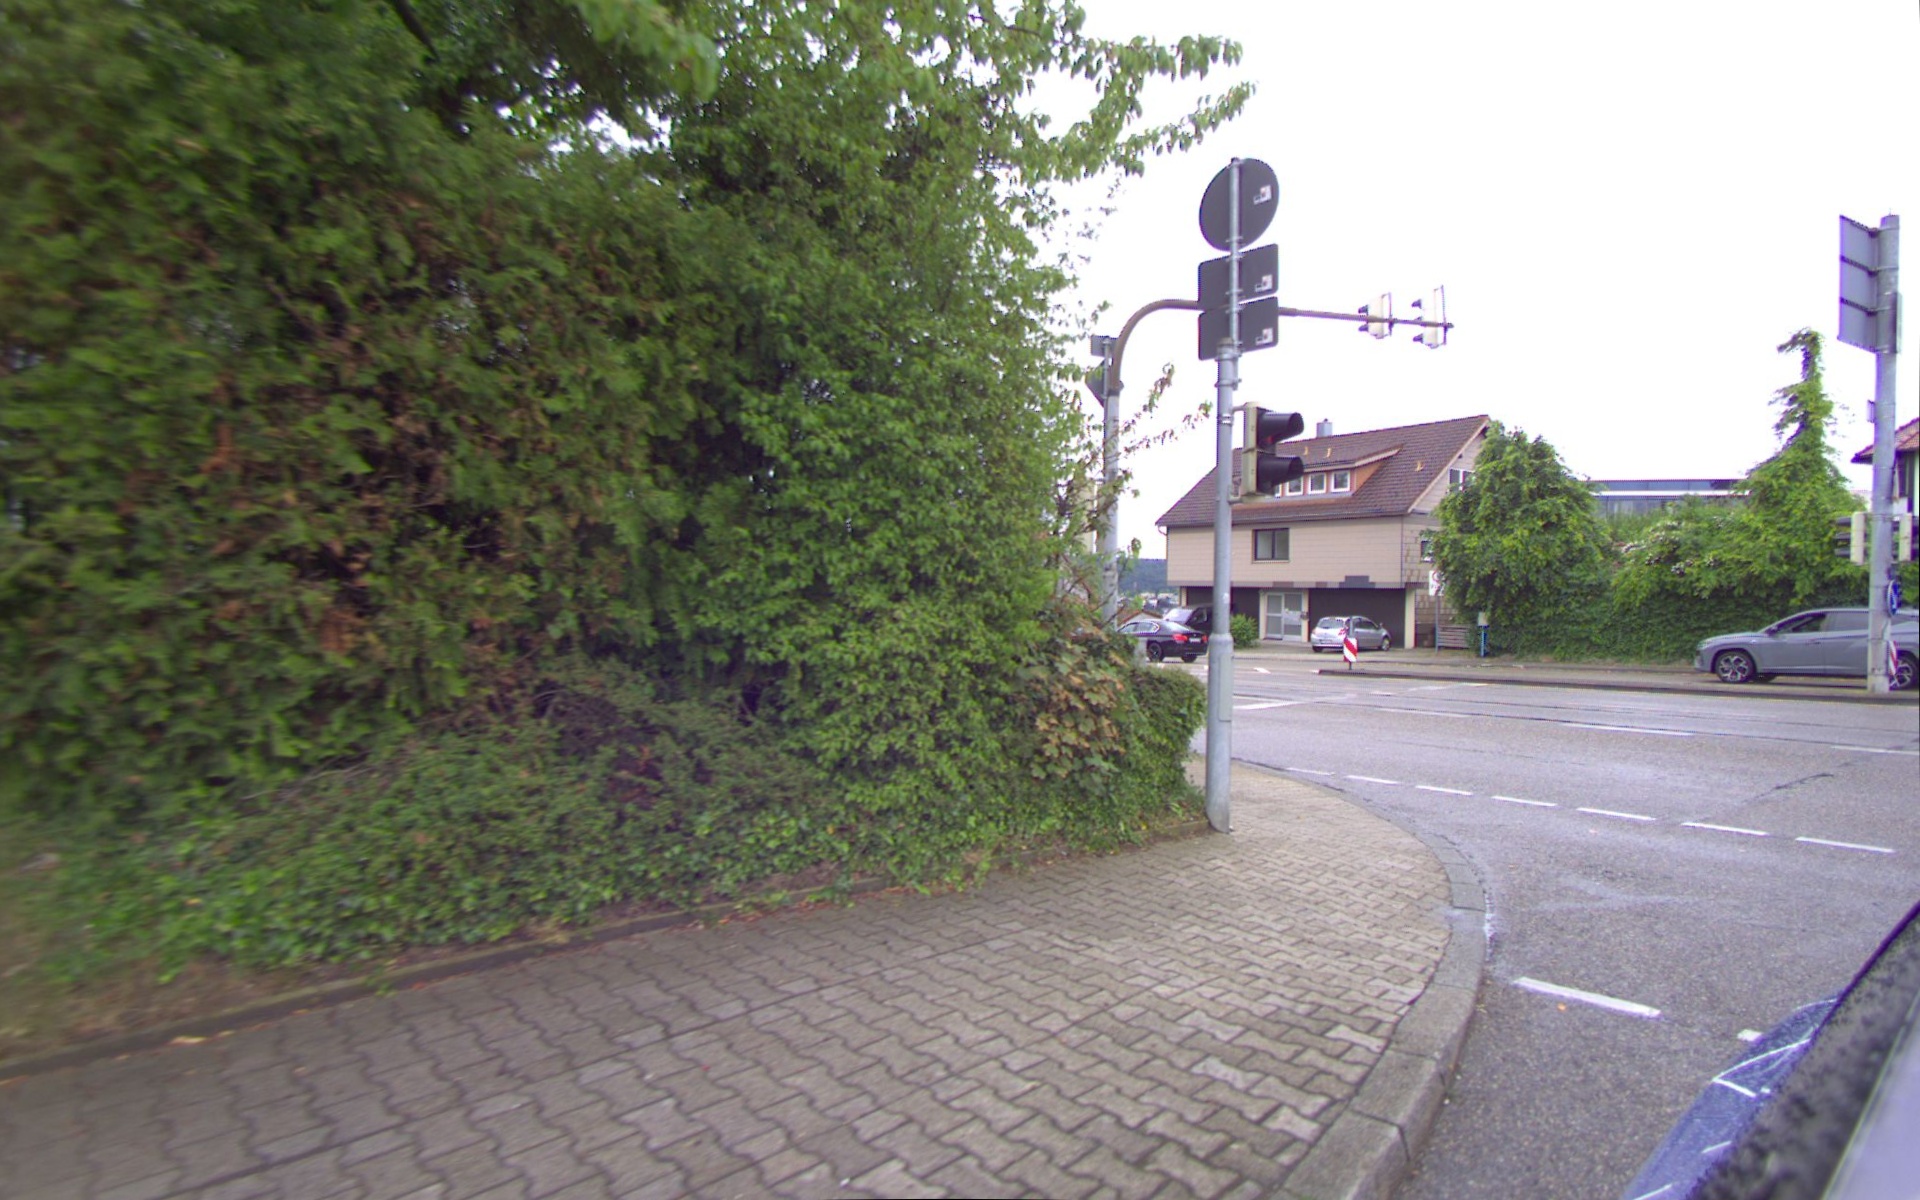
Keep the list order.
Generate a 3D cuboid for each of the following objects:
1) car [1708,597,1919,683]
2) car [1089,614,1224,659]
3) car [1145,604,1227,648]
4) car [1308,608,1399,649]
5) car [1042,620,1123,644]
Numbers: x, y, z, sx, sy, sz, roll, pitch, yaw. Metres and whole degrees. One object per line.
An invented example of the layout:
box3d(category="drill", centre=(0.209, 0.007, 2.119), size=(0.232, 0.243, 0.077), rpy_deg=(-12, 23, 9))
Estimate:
box3d(category="car", centre=(18.608, 0.809, 21.226), size=(1.871, 1.661, 4.331), rpy_deg=(1, -2, -37))
box3d(category="car", centre=(6.764, 1.225, 35.283), size=(1.961, 1.471, 4.604), rpy_deg=(1, -1, -33))
box3d(category="car", centre=(10.542, 1.172, 47.174), size=(3.507, 1.669, 1.771), rpy_deg=(-5, 4, -34))
box3d(category="car", centre=(16.041, 1.144, 41.252), size=(3.504, 1.472, 1.771), rpy_deg=(-1, 2, -34))
box3d(category="car", centre=(6.266, 1.609, 51.624), size=(3.976, 1.077, 1.700), rpy_deg=(-1, 0, -34))
